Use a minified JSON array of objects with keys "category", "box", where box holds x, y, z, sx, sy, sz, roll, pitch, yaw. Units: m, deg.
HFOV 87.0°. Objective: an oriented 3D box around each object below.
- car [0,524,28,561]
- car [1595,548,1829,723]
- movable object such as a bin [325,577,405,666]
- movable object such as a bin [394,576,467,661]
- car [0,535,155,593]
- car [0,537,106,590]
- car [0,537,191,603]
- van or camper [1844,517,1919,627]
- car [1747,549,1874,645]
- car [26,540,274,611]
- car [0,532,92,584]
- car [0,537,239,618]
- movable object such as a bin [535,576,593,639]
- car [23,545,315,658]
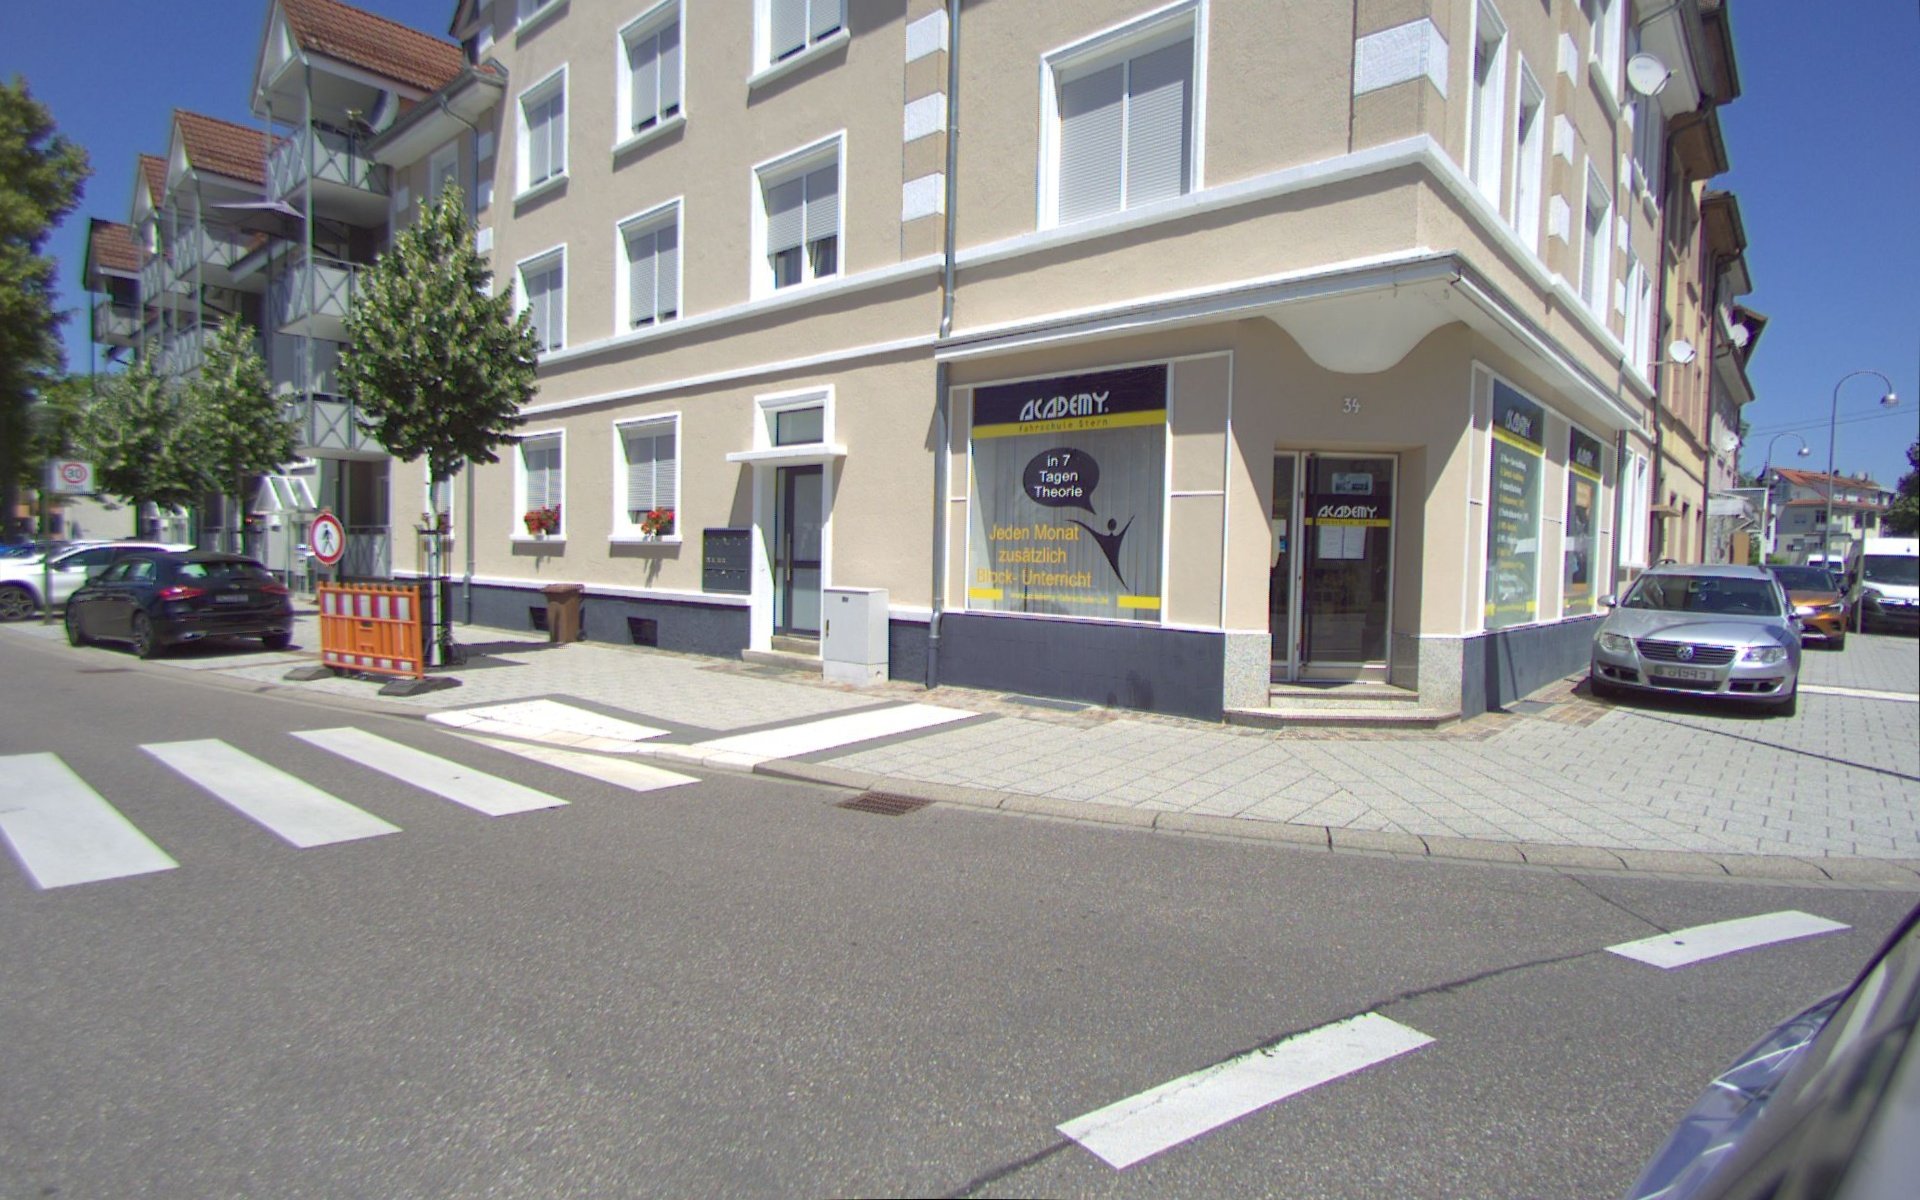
[{"category":"car","box":[-55.850,-3.267,57.034,1.991,2.038,4.675,2,3,40]},{"category":"car","box":[8.719,0.208,11.635,1.762,1.548,4.624,4,5,39]},{"category":"movable object such as a bin","box":[-7.664,0.259,13.039,0.701,1.067,0.661,2,4,39]},{"category":"movable object such as a bin","box":[-7.089,0.227,13.553,0.701,1.068,0.633,2,3,39]},{"category":"car","box":[-26.503,-1.101,29.710,1.900,1.595,4.230,3,5,43]},{"category":"car","box":[-29.222,-1.140,31.198,1.900,1.595,4.230,3,5,43]},{"category":"car","box":[-22.720,-0.832,26.177,1.900,1.595,4.230,3,5,43]},{"category":"van or camper","box":[24.823,-0.730,26.457,2.162,2.620,5.686,4,4,38]},{"category":"car","box":[17.008,-0.139,20.296,1.672,1.639,4.301,6,5,40]},{"category":"car","box":[-18.553,-0.638,23.330,1.900,1.453,4.230,3,5,43]},{"category":"car","box":[-31.422,-1.402,33.246,1.900,1.661,4.229,3,3,43]},{"category":"car","box":[-17.868,-0.547,21.191,1.900,1.541,4.230,3,5,43]},{"category":"movable object such as a bin","box":[-6.347,0.112,16.226,0.575,0.946,0.649,2,4,32]},{"category":"car","box":[-11.786,-0.075,15.056,4.133,1.453,1.889,2,4,28]}]
